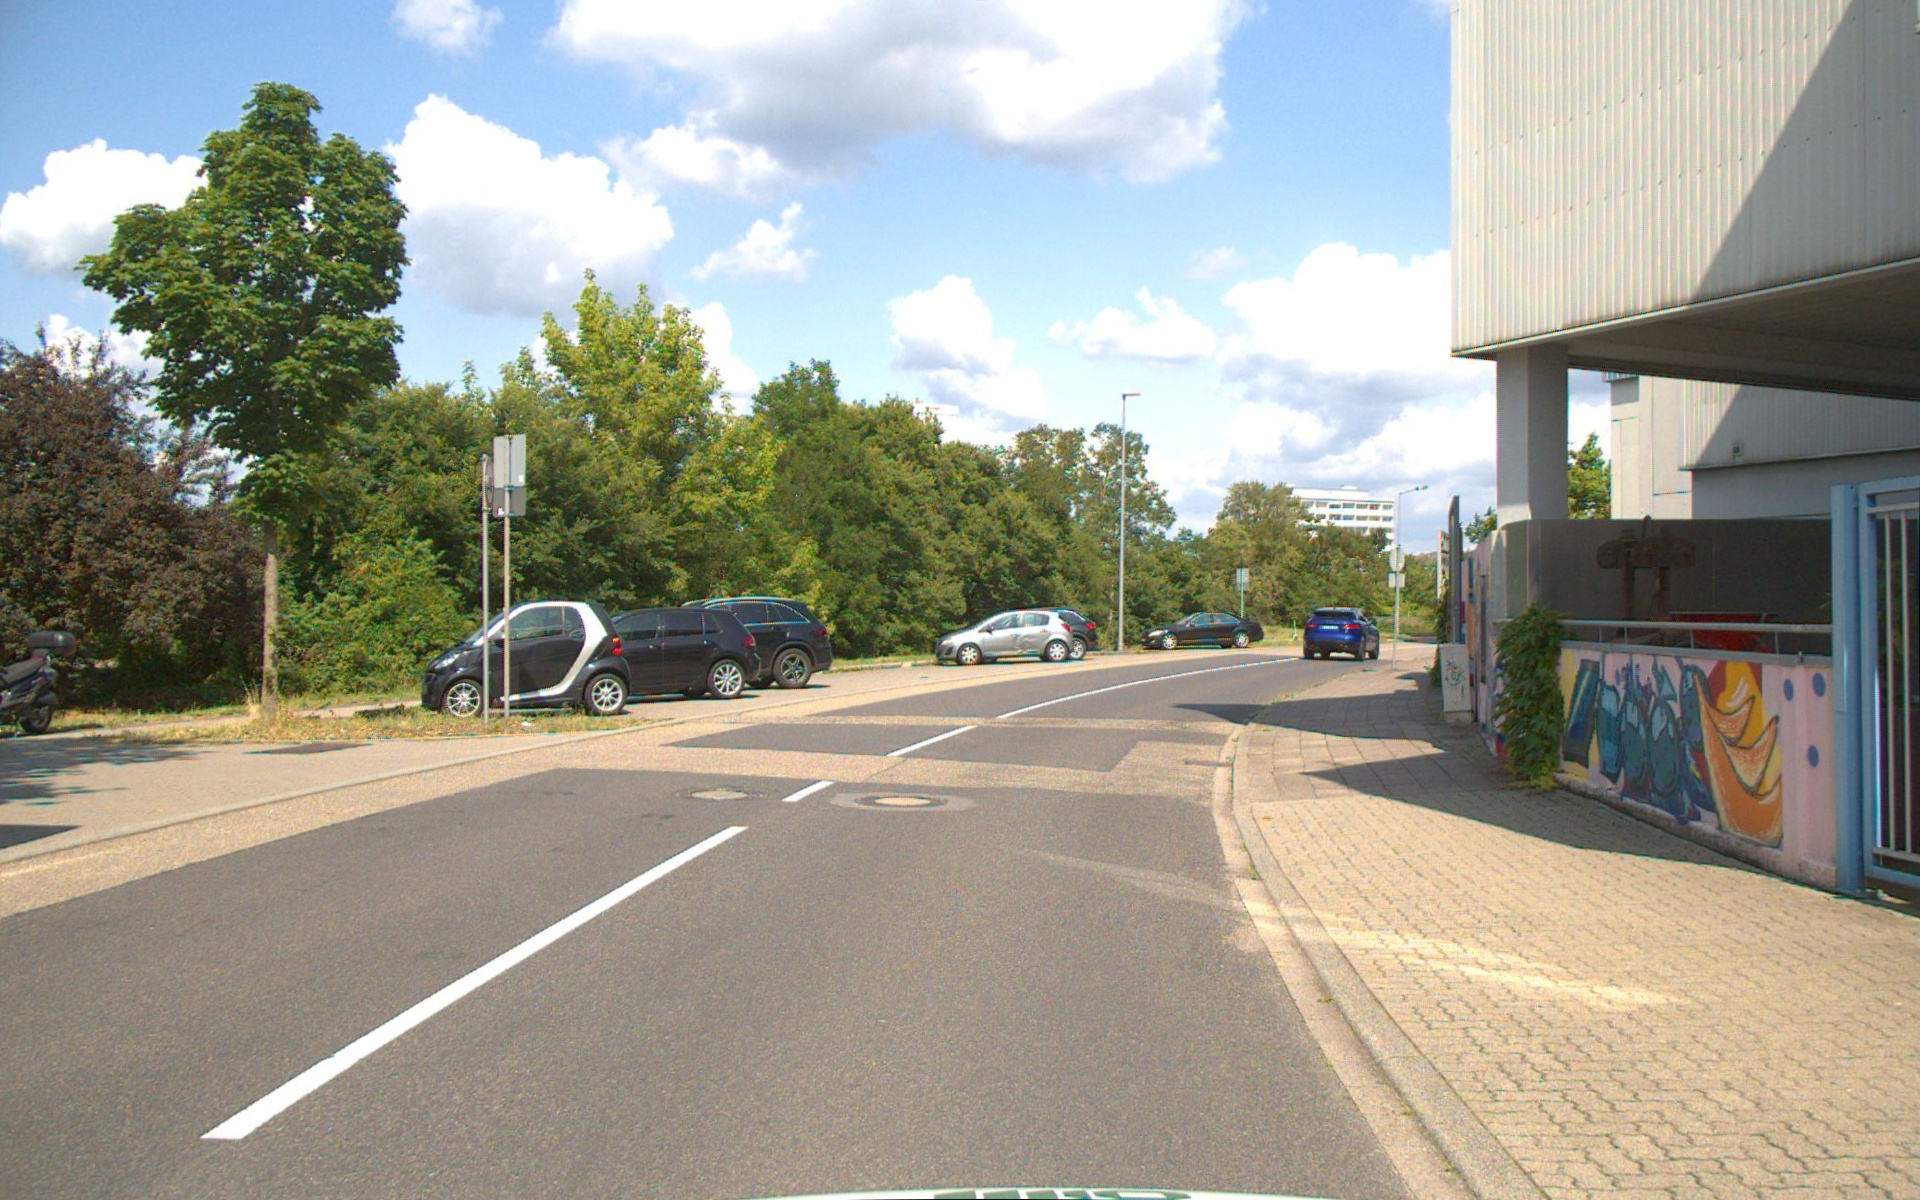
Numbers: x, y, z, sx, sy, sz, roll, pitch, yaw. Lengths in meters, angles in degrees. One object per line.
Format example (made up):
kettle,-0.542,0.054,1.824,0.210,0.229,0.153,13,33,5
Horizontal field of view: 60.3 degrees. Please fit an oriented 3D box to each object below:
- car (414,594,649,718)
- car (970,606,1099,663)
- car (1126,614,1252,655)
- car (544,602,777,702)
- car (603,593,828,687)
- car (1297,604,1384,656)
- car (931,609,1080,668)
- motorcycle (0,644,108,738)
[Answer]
car,-5.892,0.764,22.663,2.859,1.597,1.876,1,-2,-24
car,2.151,1.015,48.479,3.511,1.597,1.738,1,-2,-9
car,9.307,1.422,67.249,4.790,1.597,1.738,1,-2,-9
car,-4.764,0.795,26.352,3.290,1.501,1.686,1,-1,-32
car,-4.393,0.738,29.830,3.591,1.597,1.870,1,-2,-31
car,12.468,0.996,53.977,1.871,1.621,4.698,0,-2,24
car,1.258,1.095,46.523,3.970,1.597,1.738,1,-2,-9
motorcycle,-11.762,1.115,20.490,0.725,1.104,2.252,0,-1,20
